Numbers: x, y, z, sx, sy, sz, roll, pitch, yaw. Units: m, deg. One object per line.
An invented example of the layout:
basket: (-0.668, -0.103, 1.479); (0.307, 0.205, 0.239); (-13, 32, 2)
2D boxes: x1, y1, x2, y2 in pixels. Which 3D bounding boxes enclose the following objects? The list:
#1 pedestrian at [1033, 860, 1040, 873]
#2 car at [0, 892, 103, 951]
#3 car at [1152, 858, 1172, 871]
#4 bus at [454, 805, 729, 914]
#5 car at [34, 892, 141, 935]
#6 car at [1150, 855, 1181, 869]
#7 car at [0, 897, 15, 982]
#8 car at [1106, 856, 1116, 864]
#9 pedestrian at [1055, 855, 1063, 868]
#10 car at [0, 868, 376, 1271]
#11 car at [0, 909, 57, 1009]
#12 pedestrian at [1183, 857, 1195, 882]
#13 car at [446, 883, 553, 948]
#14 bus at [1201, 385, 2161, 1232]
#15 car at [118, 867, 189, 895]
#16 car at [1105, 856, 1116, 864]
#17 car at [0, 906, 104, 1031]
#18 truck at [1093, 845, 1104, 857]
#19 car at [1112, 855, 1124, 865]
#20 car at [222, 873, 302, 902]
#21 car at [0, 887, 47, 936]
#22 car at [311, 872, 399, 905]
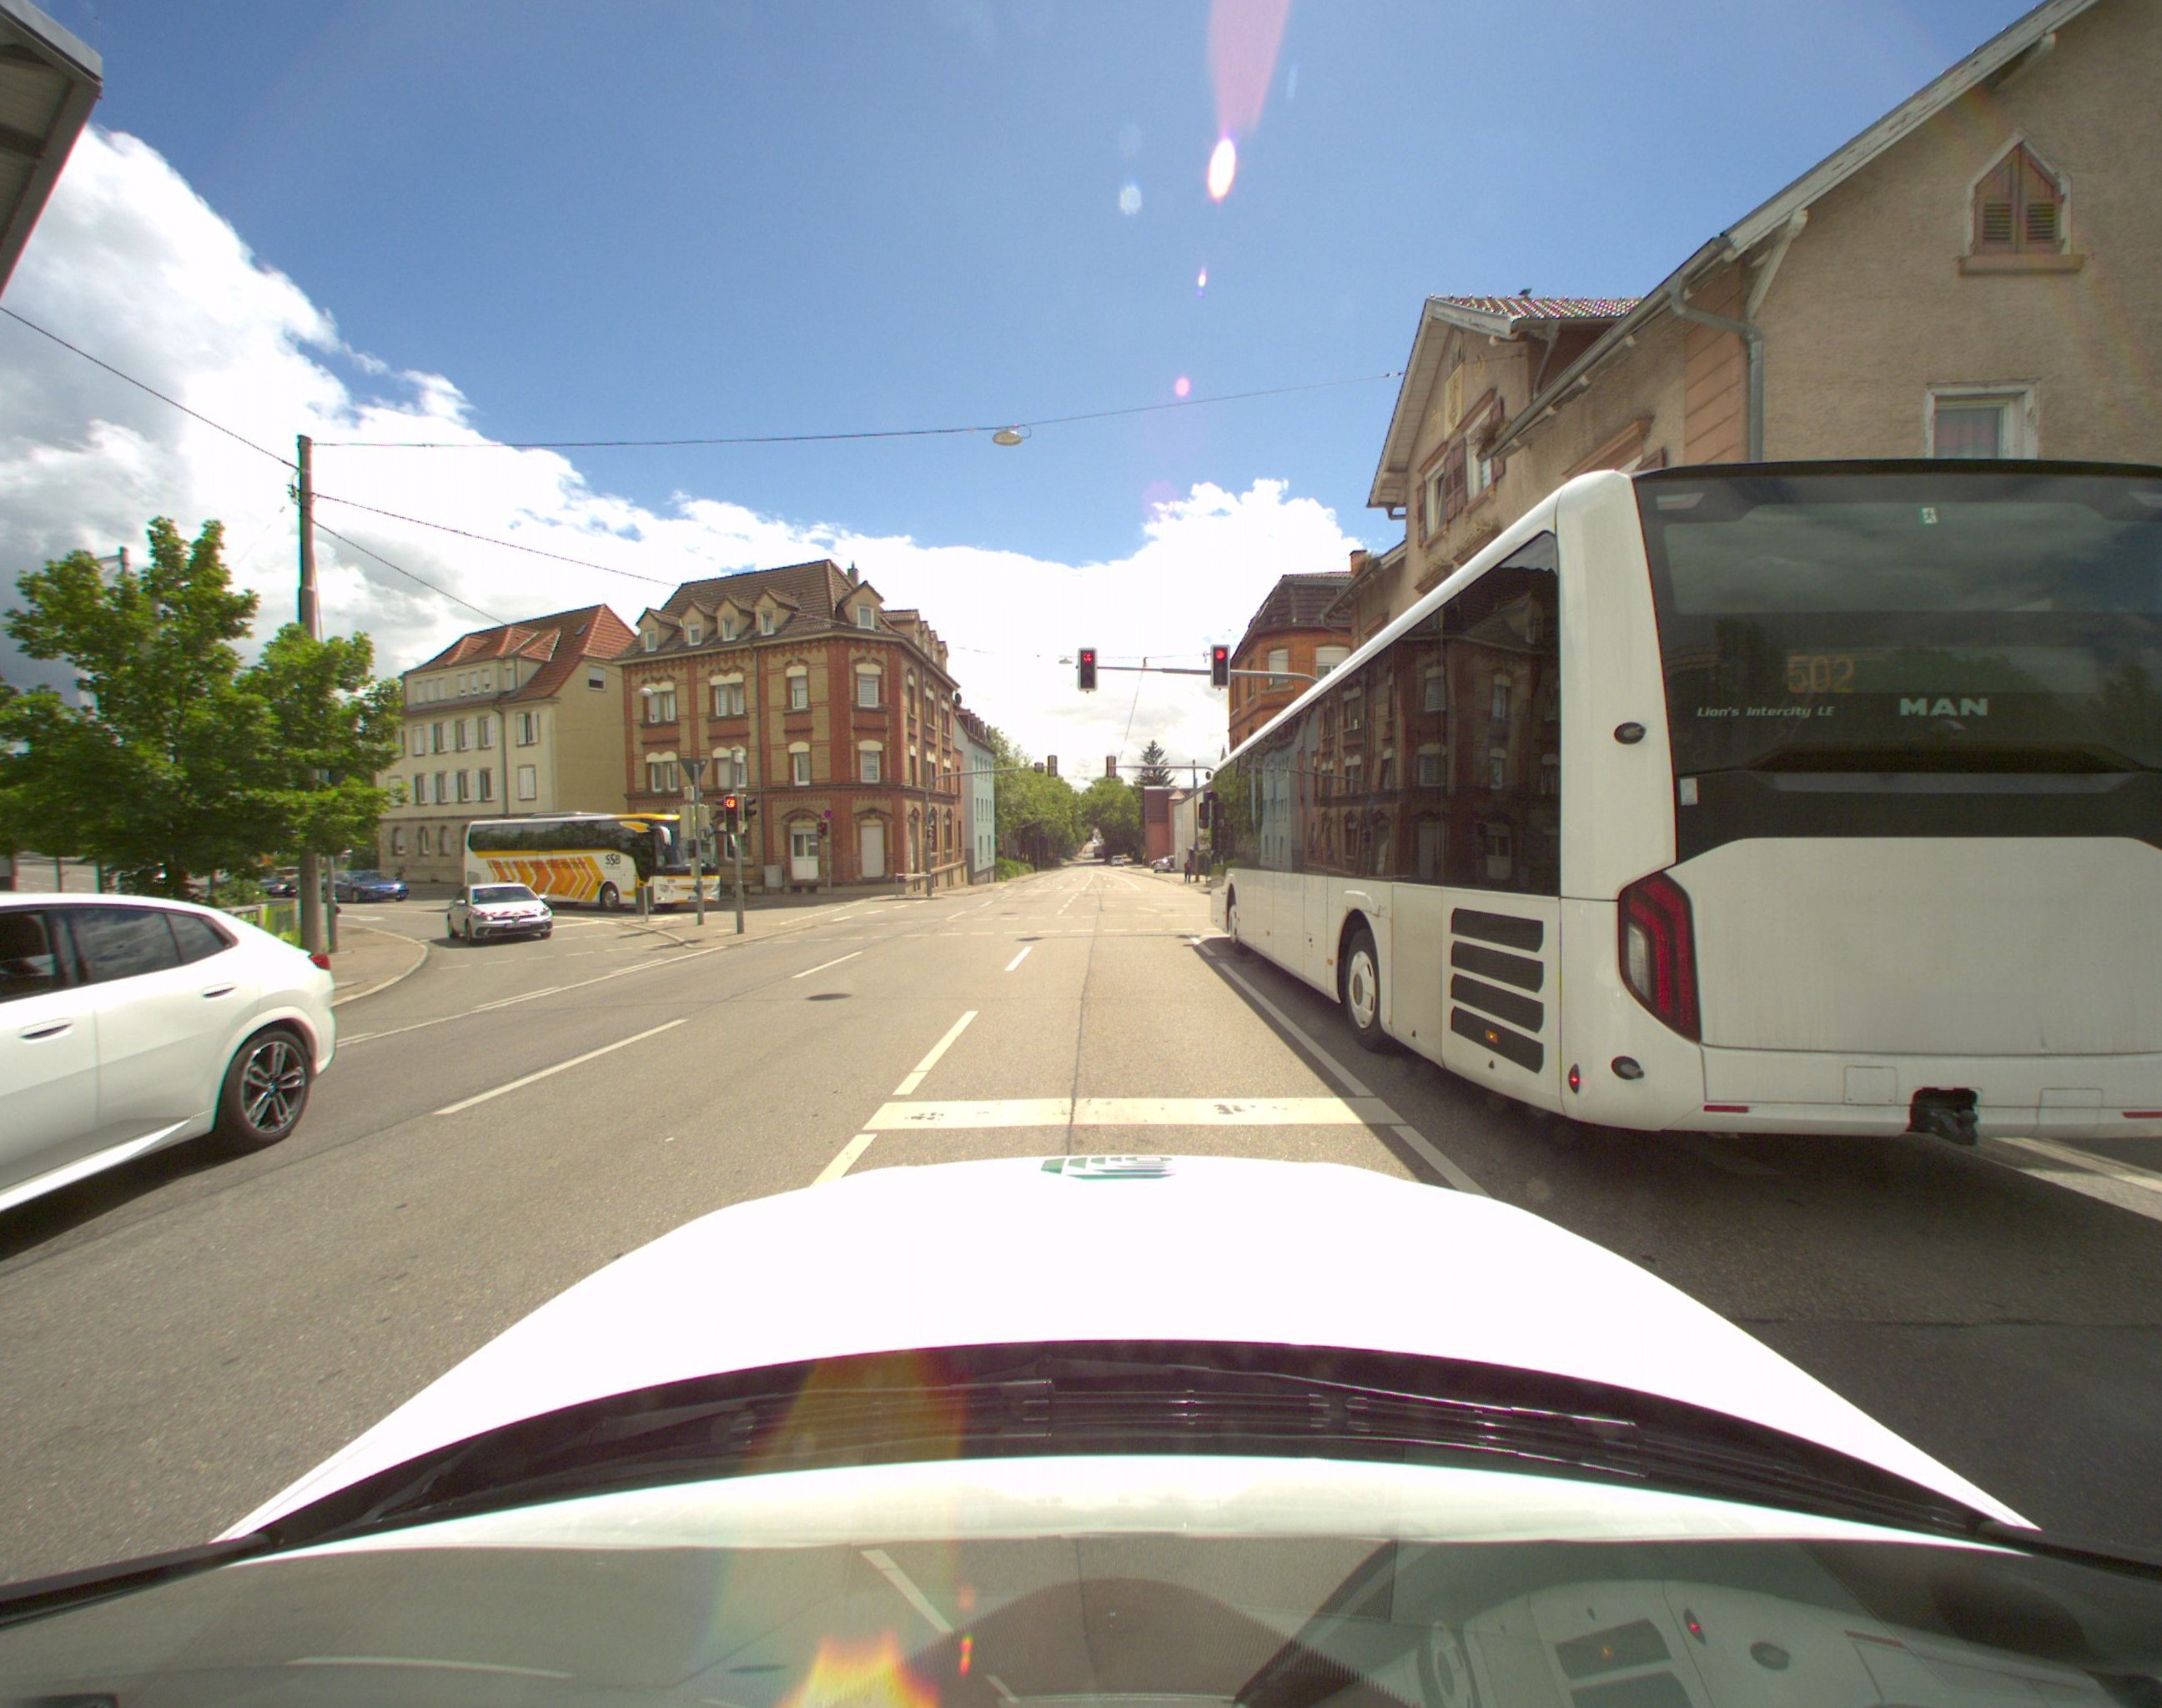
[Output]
pedestrian: (-5.358, 1.506, 97.540); (0.727, 1.565, 0.561); (-1, -1, 0)
car: (-29.539, 1.863, 22.153); (1.777, 1.477, 3.522); (-2, 0, 32)
car: (9.226, 1.181, 93.025); (1.788, 1.409, 4.000); (-2, 0, 1)
bus: (-18.862, 0.274, 30.960); (12.110, 3.621, 2.788); (-1, 0, 26)
car: (-37.572, 2.232, 30.794); (3.456, 1.448, 1.811); (-2, 0, 26)
car: (11.774, 1.053, 113.080); (3.978, 1.757, 1.998); (-2, 0, -3)
car: (-23.406, 1.758, 16.515); (3.455, 1.680, 1.663); (-1, 2, 30)
car: (5.748, 1.136, 154.022); (1.787, 1.409, 4.421); (-1, 0, 3)
pedestrian: (-3.501, 1.257, 129.724); (0.991, 2.013, 1.189); (-2, 0, 1)
car: (-5.243, 0.896, 3.359); (1.832, 1.552, 4.282); (-3, 0, -16)
car: (-19.628, 1.843, 14.199); (3.455, 1.526, 1.626); (-1, 2, 29)
pedestrian: (7.735, 1.131, 58.540); (0.736, 1.750, 0.619); (-2, 0, 1)
car: (-15.077, 1.511, 21.051); (1.894, 1.418, 3.577); (-1, 0, -41)
bus: (3.438, -0.160, 9.323); (2.662, 3.155, 12.467); (-2, 0, 2)
car: (-53.536, 1.553, 47.013); (3.949, 1.554, 1.923); (-2, 0, 29)
car: (5.323, 1.003, 146.595); (1.787, 1.409, 4.421); (-1, 0, 3)
car: (-16.420, 1.694, 12.273); (3.321, 1.560, 1.692); (0, 2, 32)
truck: (4.903, -0.848, 232.854); (2.917, 3.081, 7.883); (-2, 0, 0)
car: (5.870, 0.956, 129.289); (1.787, 1.409, 4.002); (-1, 0, 2)
car: (-42.886, 1.753, 42.635); (3.949, 1.409, 1.923); (-2, 0, 29)
car: (-36.215, 1.900, 25.741); (1.785, 1.554, 4.023); (-2, 0, 25)
car: (-33.672, 1.584, 37.755); (3.949, 1.409, 1.762); (-2, 0, 28)
